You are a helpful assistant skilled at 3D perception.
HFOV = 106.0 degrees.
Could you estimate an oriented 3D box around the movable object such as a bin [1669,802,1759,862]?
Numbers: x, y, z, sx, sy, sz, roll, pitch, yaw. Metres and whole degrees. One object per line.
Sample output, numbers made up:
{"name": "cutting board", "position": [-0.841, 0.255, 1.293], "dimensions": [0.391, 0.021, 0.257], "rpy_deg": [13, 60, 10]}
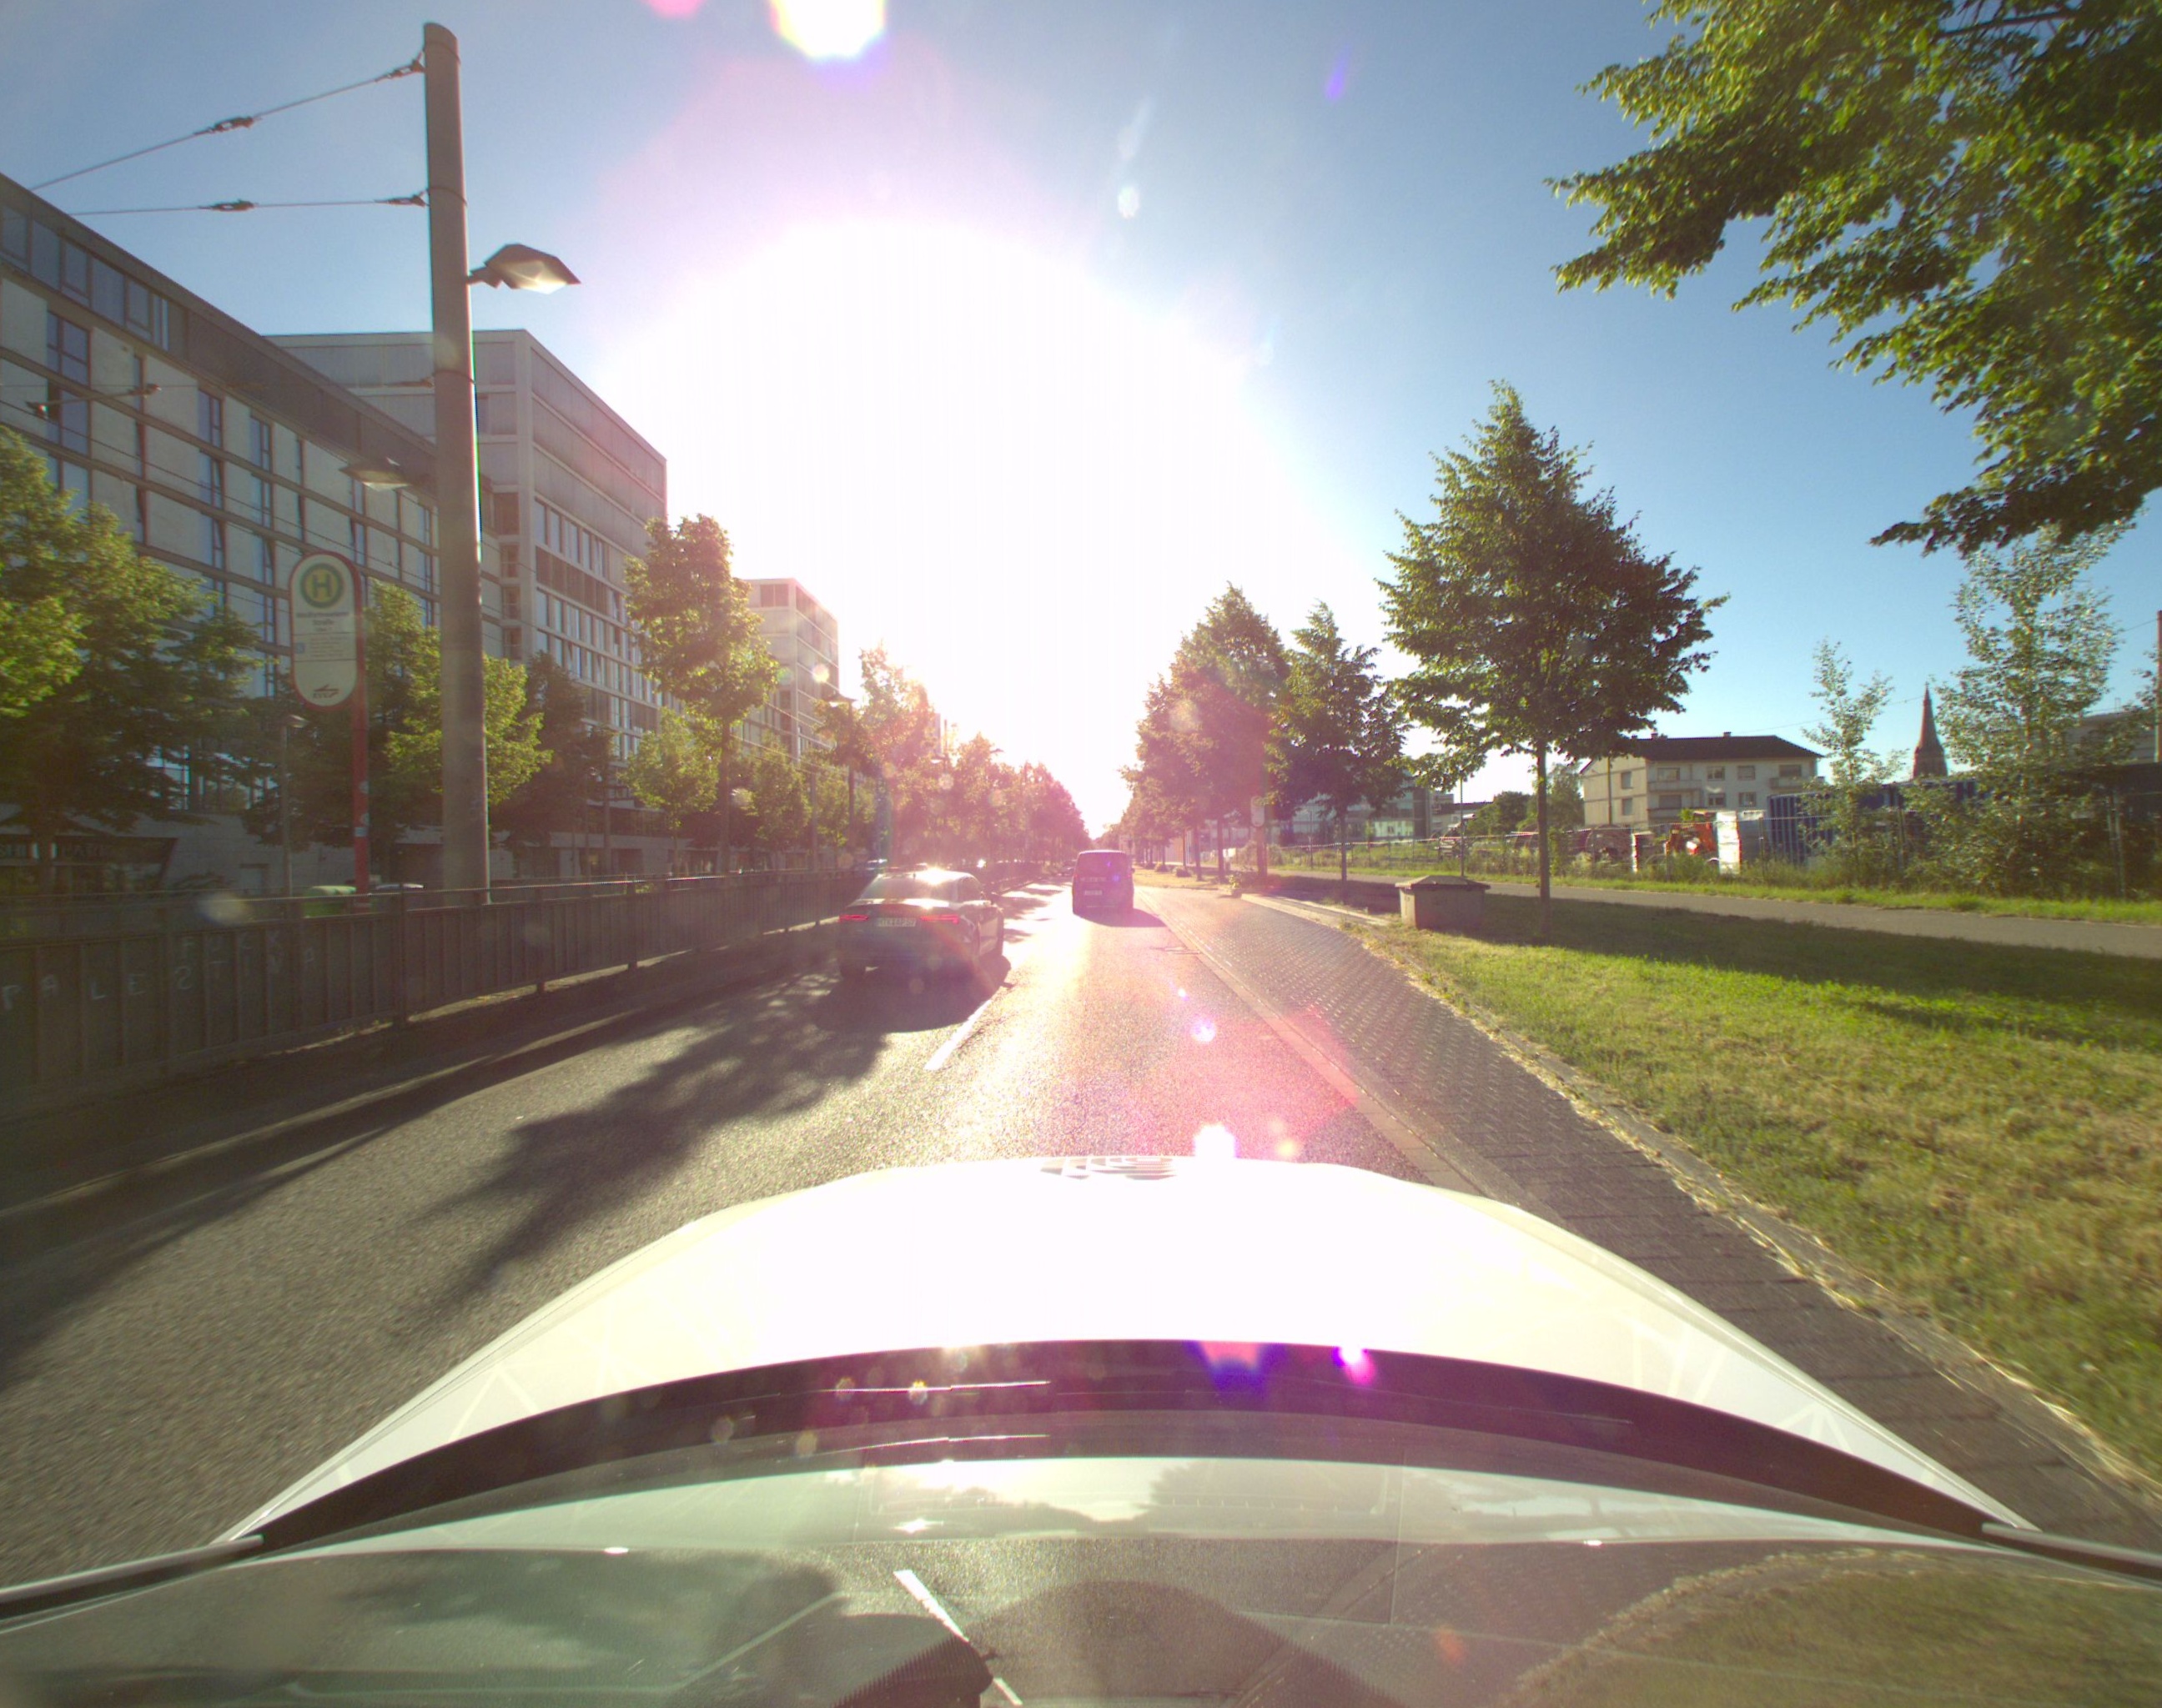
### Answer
{"name": "movable object such as a bin", "position": [22.505, -0.751, 29.024], "dimensions": [1.788, 2.014, 1.790], "rpy_deg": [-1, -2, 2]}

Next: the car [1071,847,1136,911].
{"name": "car", "position": [0.622, 0.715, 24.571], "dimensions": [1.792, 1.777, 3.999], "rpy_deg": [0, 0, 0]}

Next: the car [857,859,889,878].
{"name": "car", "position": [-20.835, 1.444, 81.854], "dimensions": [1.986, 1.750, 4.228], "rpy_deg": [-3, -1, 1]}

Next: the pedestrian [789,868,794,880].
{"name": "pedestrian", "position": [-35.104, 2.389, 98.730], "dimensions": [0.406, 1.413, 0.690], "rpy_deg": [-1, -2, 1]}

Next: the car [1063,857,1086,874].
{"name": "car", "position": [-0.606, 1.027, 73.941], "dimensions": [1.936, 1.441, 3.998], "rpy_deg": [-2, 0, -1]}

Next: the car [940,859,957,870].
{"name": "car", "position": [-19.506, 1.481, 119.939], "dimensions": [1.673, 1.520, 3.701], "rpy_deg": [-2, 0, 1]}

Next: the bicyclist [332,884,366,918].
{"name": "bicyclist", "position": [-32.365, 2.076, 36.035], "dimensions": [0.717, 1.463, 0.832], "rpy_deg": [-1, -1, 3]}

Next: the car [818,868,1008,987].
{"name": "car", "position": [-2.177, 0.909, 11.694], "dimensions": [1.714, 1.366, 4.148], "rpy_deg": [0, -1, 2]}
